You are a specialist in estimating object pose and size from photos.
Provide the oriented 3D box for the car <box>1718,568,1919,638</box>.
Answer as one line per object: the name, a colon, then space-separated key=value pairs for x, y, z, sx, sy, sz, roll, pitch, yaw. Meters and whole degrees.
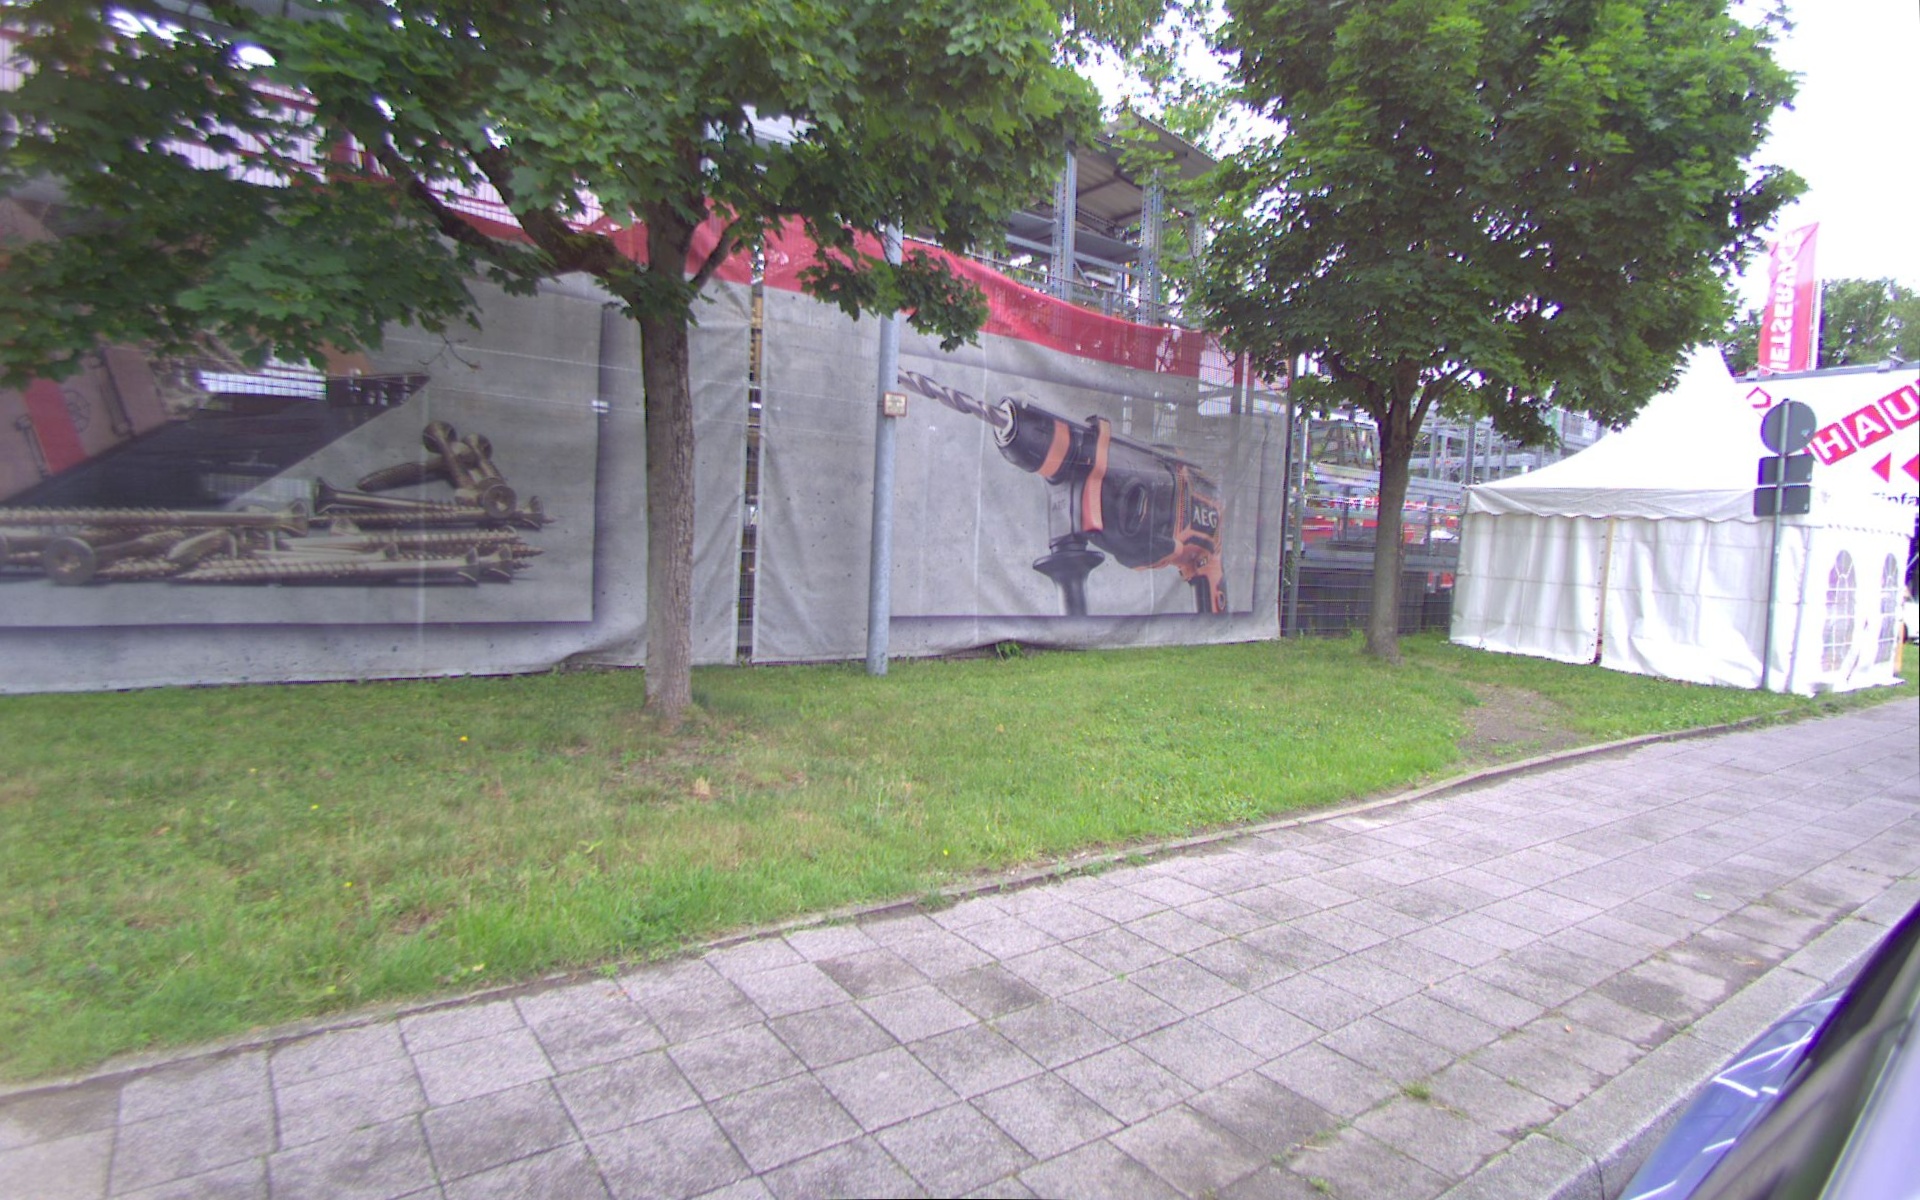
car: x=21.862 y=0.022 z=25.108 sx=1.902 sy=1.445 sz=4.499 roll=-1 pitch=4 yaw=-34

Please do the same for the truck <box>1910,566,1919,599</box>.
truck: x=74.431 y=-1.196 z=76.018 sx=3.928 sy=2.425 sz=1.999 roll=3 pitch=3 yaw=4
